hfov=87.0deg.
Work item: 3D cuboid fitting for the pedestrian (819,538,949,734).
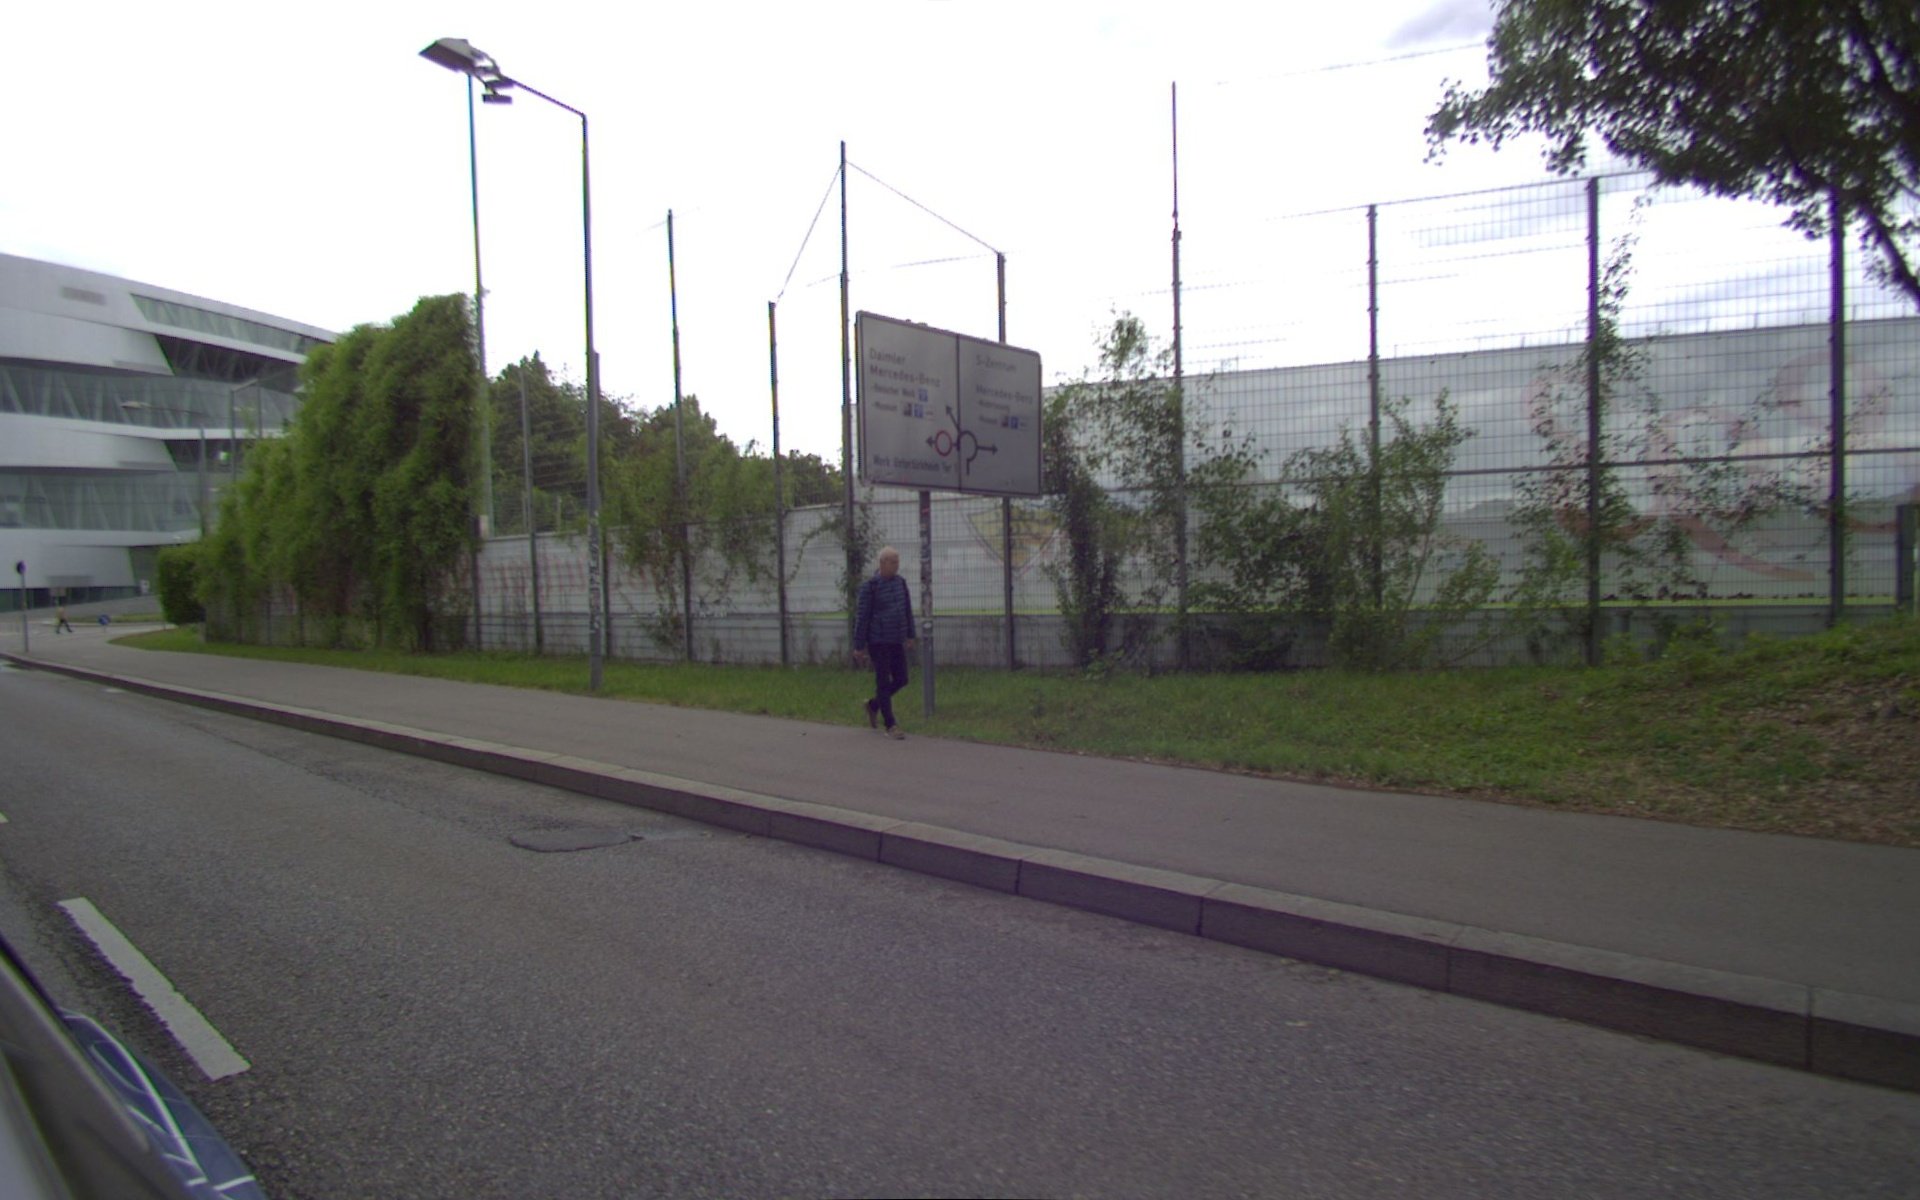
[{"bbox_3d":[-0.729,0.339,9.821,0.916,1.794,0.798,-3,0,28],"label":"pedestrian"}]

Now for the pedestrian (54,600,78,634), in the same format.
[{"bbox_3d":[-54.784,1.034,62.036,1.023,2.029,0.786,-2,0,-41],"label":"pedestrian"}]
